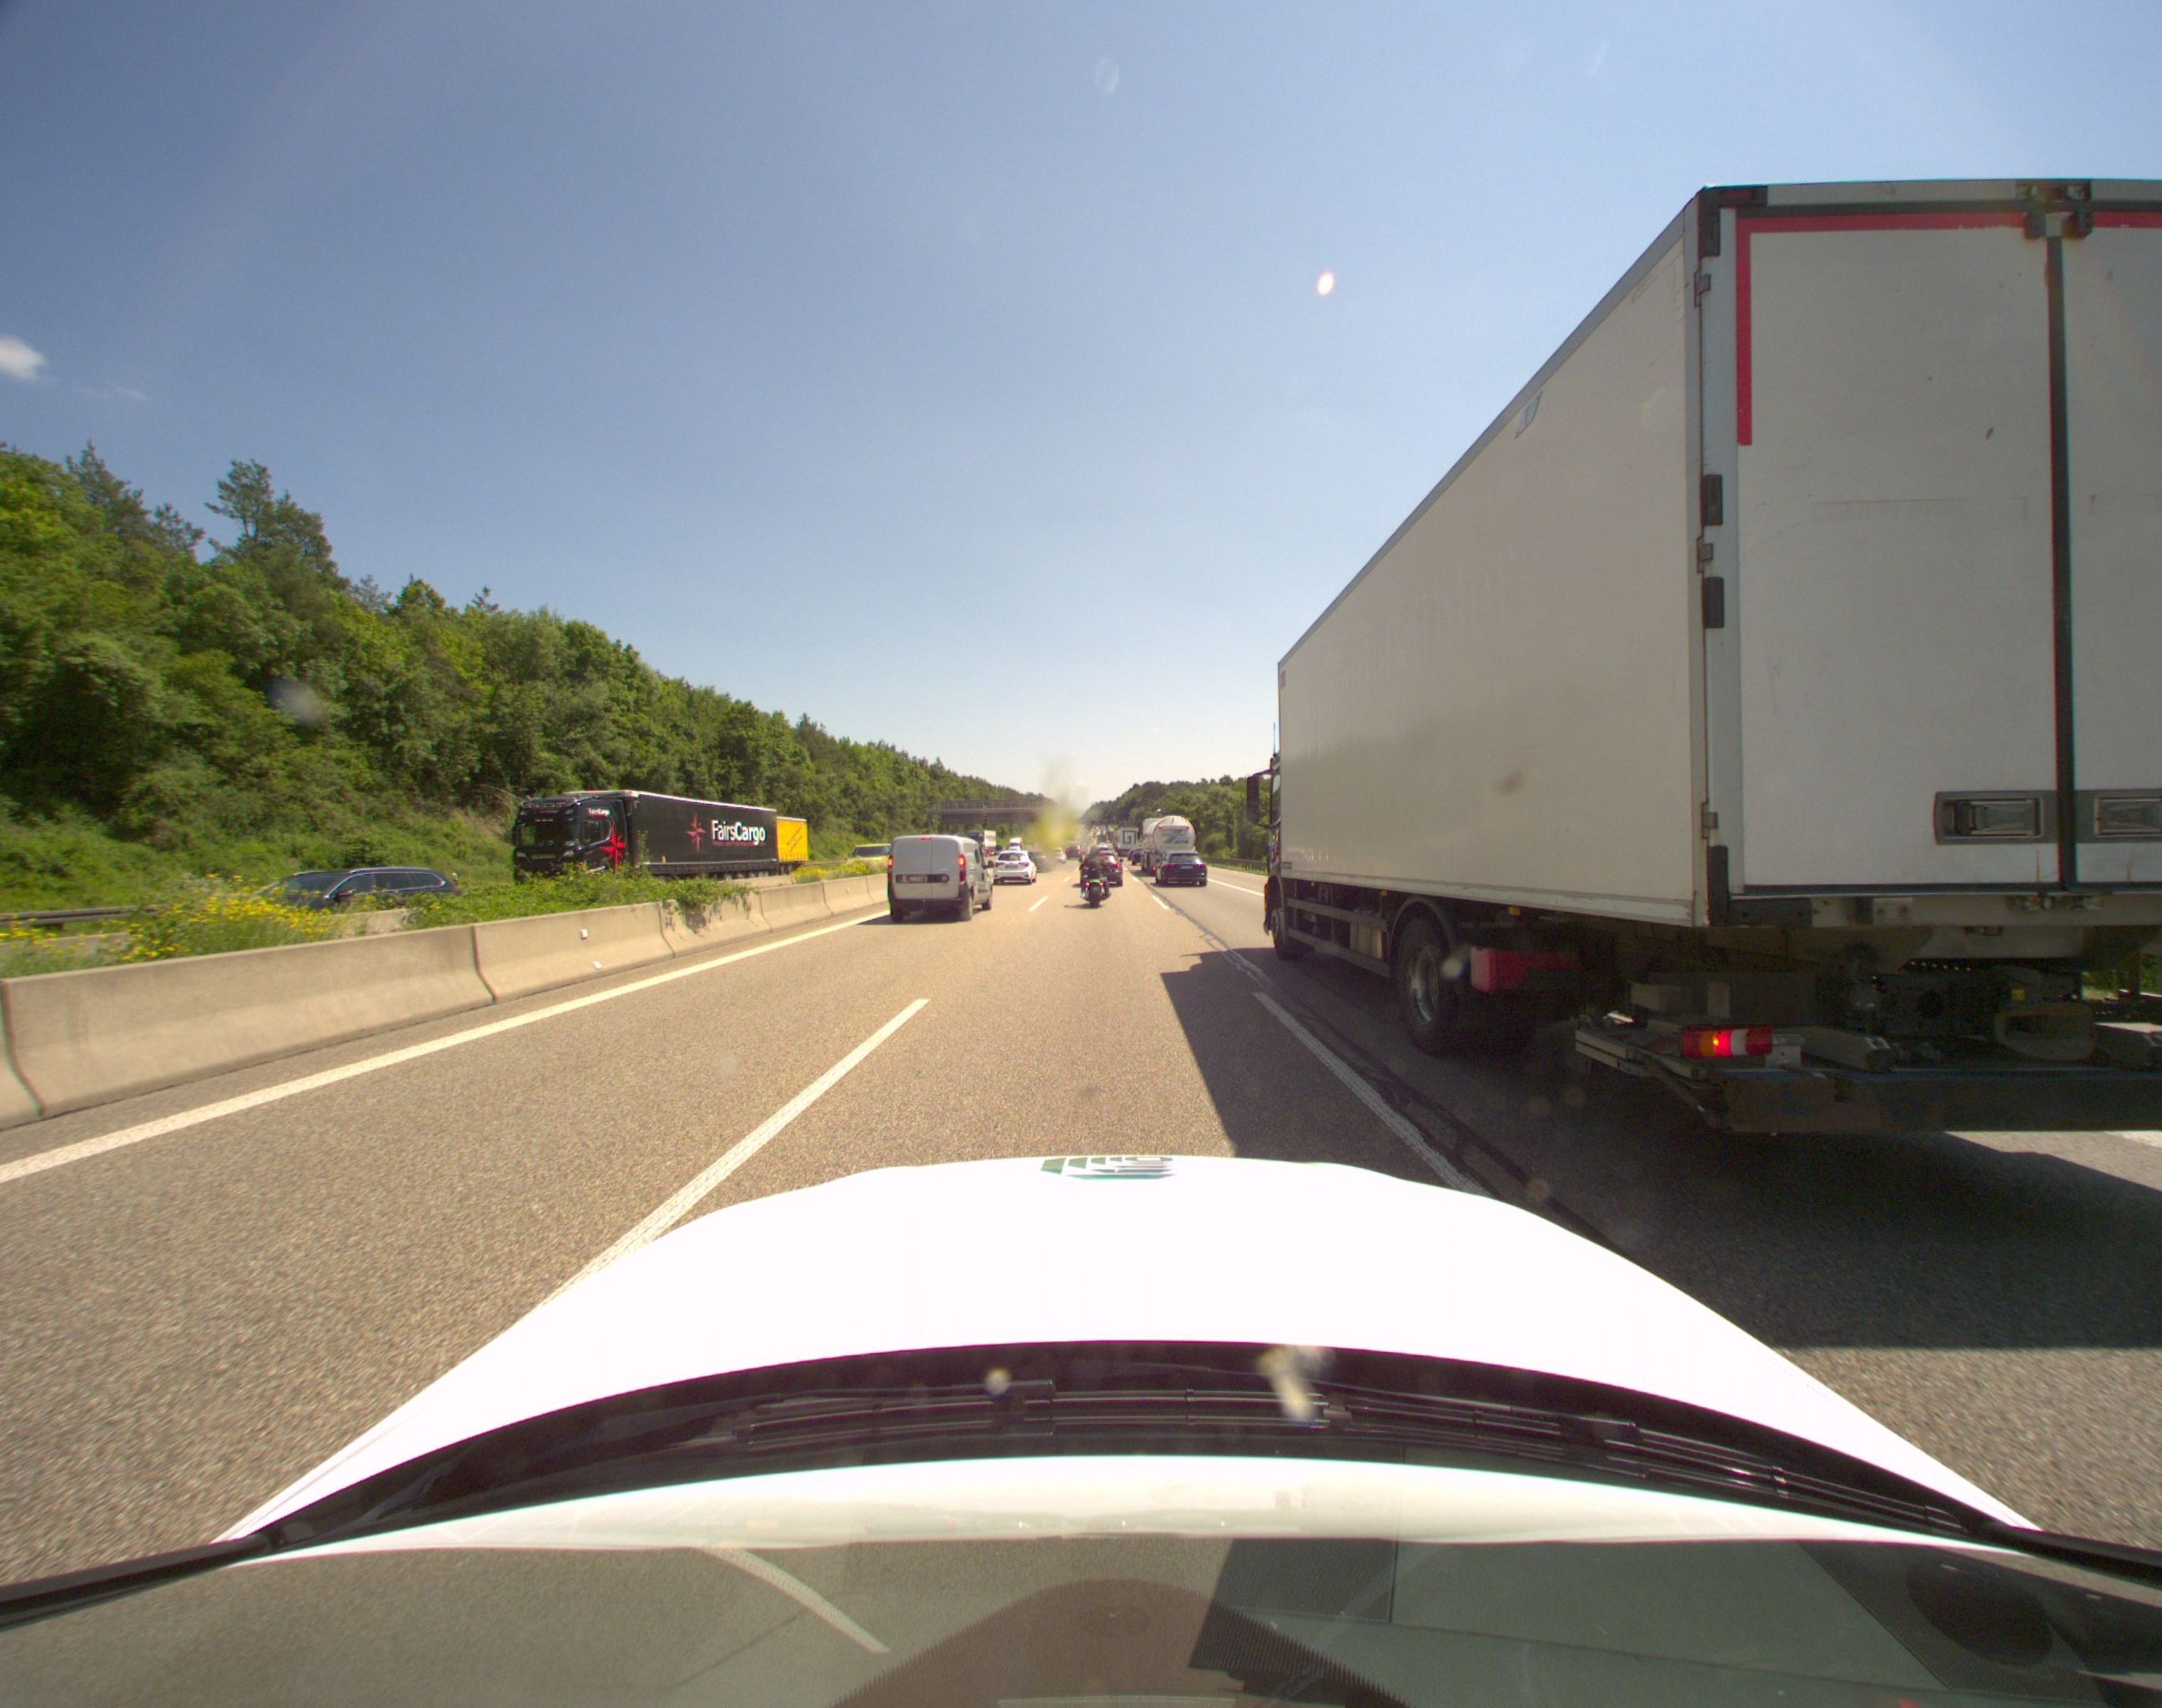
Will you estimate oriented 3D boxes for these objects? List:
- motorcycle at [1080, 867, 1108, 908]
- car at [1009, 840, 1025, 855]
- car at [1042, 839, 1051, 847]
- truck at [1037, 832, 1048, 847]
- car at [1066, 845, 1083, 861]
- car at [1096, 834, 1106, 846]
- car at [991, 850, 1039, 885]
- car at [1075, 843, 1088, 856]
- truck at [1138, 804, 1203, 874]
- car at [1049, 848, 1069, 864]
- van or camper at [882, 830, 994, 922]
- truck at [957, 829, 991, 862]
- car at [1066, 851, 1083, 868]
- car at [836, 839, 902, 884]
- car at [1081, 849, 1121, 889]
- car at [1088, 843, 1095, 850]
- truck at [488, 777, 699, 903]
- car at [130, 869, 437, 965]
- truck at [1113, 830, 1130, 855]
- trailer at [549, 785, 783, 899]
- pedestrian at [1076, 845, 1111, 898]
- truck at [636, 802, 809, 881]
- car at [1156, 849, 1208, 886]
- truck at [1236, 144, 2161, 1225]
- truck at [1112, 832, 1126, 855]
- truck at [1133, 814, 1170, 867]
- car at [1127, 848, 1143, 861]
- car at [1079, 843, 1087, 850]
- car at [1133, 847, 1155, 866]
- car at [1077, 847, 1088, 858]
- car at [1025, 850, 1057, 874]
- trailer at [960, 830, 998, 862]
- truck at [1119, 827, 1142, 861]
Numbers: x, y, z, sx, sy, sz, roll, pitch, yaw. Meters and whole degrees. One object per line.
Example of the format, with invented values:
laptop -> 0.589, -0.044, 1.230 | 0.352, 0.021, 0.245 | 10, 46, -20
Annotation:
motorcycle -> 0.369, 0.872, 22.026 | 0.688, 1.015, 2.123 | -1, 0, 3
car -> -10.887, -1.141, 139.526 | 1.986, 2.377, 7.367 | -1, 0, 2
car -> -9.262, -2.969, 220.649 | 1.873, 2.013, 4.470 | -4, -1, 2
truck -> -12.248, -4.558, 260.159 | 2.755, 4.740, 10.475 | -1, 0, 2
car -> -0.808, -0.118, 98.283 | 1.873, 1.859, 4.002 | -1, 0, 2
car -> 4.831, -3.396, 198.173 | 2.495, 2.587, 5.018 | -1, 0, 1
car -> -2.928, 0.567, 36.683 | 1.693, 1.478, 4.002 | -1, 0, 1
car -> 0.035, -0.805, 136.029 | 1.922, 2.013, 4.002 | -3, -1, 2
truck -> 5.230, -0.798, 49.379 | 2.977, 3.671, 9.290 | -3, -1, 2
car -> -2.066, 0.173, 76.975 | 1.693, 1.478, 4.002 | -1, 0, 1
van or camper -> -3.224, 0.479, 19.151 | 1.789, 1.892, 4.161 | -1, -1, 1
truck -> -15.905, -1.196, 121.592 | 3.712, 4.528, 7.327 | -3, -1, 1
car -> -0.885, 0.724, 107.799 | 1.986, 2.013, 4.002 | -3, -1, 2
car -> -10.598, 0.376, 41.040 | 1.873, 2.013, 4.470 | -4, -1, 2
car -> 0.844, 0.583, 34.558 | 1.527, 1.510, 4.000 | -3, 0, 1
car -> 2.995, -2.214, 235.793 | 1.986, 2.013, 4.002 | -1, 0, 2
truck -> -17.834, -0.435, 30.628 | 2.895, 3.974, 7.771 | -3, -1, 1
car -> -14.214, 1.042, 14.897 | 1.557, 1.366, 4.001 | -2, 0, 1
truck -> 7.663, -2.189, 155.691 | 3.022, 4.542, 9.986 | 0, 0, 2
trailer -> -17.682, -0.381, 36.611 | 2.895, 3.974, 13.892 | -3, -1, 1
pedestrian -> 0.360, 0.462, 22.126 | 0.846, 1.362, 0.962 | -3, 0, 2
truck -> -21.220, -0.575, 50.195 | 3.026, 3.983, 16.269 | -2, -1, 1
car -> 4.211, 0.530, 34.529 | 1.822, 1.470, 4.002 | 0, 0, 2
truck -> 3.731, -0.652, 7.892 | 2.678, 3.876, 9.784 | -4, 0, 2
truck -> 8.661, -2.465, 186.008 | 3.022, 5.139, 9.986 | 0, 0, 2
truck -> 5.008, -0.905, 58.372 | 1.988, 3.522, 4.749 | -3, -1, -1
car -> 6.215, 0.063, 93.968 | 1.780, 1.374, 3.805 | -1, 0, 1
car -> 0.502, -1.989, 217.493 | 1.986, 2.013, 4.002 | -1, 0, 1
car -> 5.521, 0.211, 71.778 | 1.780, 1.555, 3.805 | -1, 0, 1
car -> 0.346, -0.357, 159.667 | 1.986, 2.013, 4.001 | -3, -1, 2
car -> -2.563, 0.493, 53.004 | 1.693, 1.478, 4.002 | -1, 0, 1
trailer -> -15.746, -1.185, 127.088 | 3.711, 4.528, 13.335 | -3, -1, 2
truck -> 7.040, -1.403, 116.823 | 3.022, 4.542, 9.986 | 0, 0, 2
